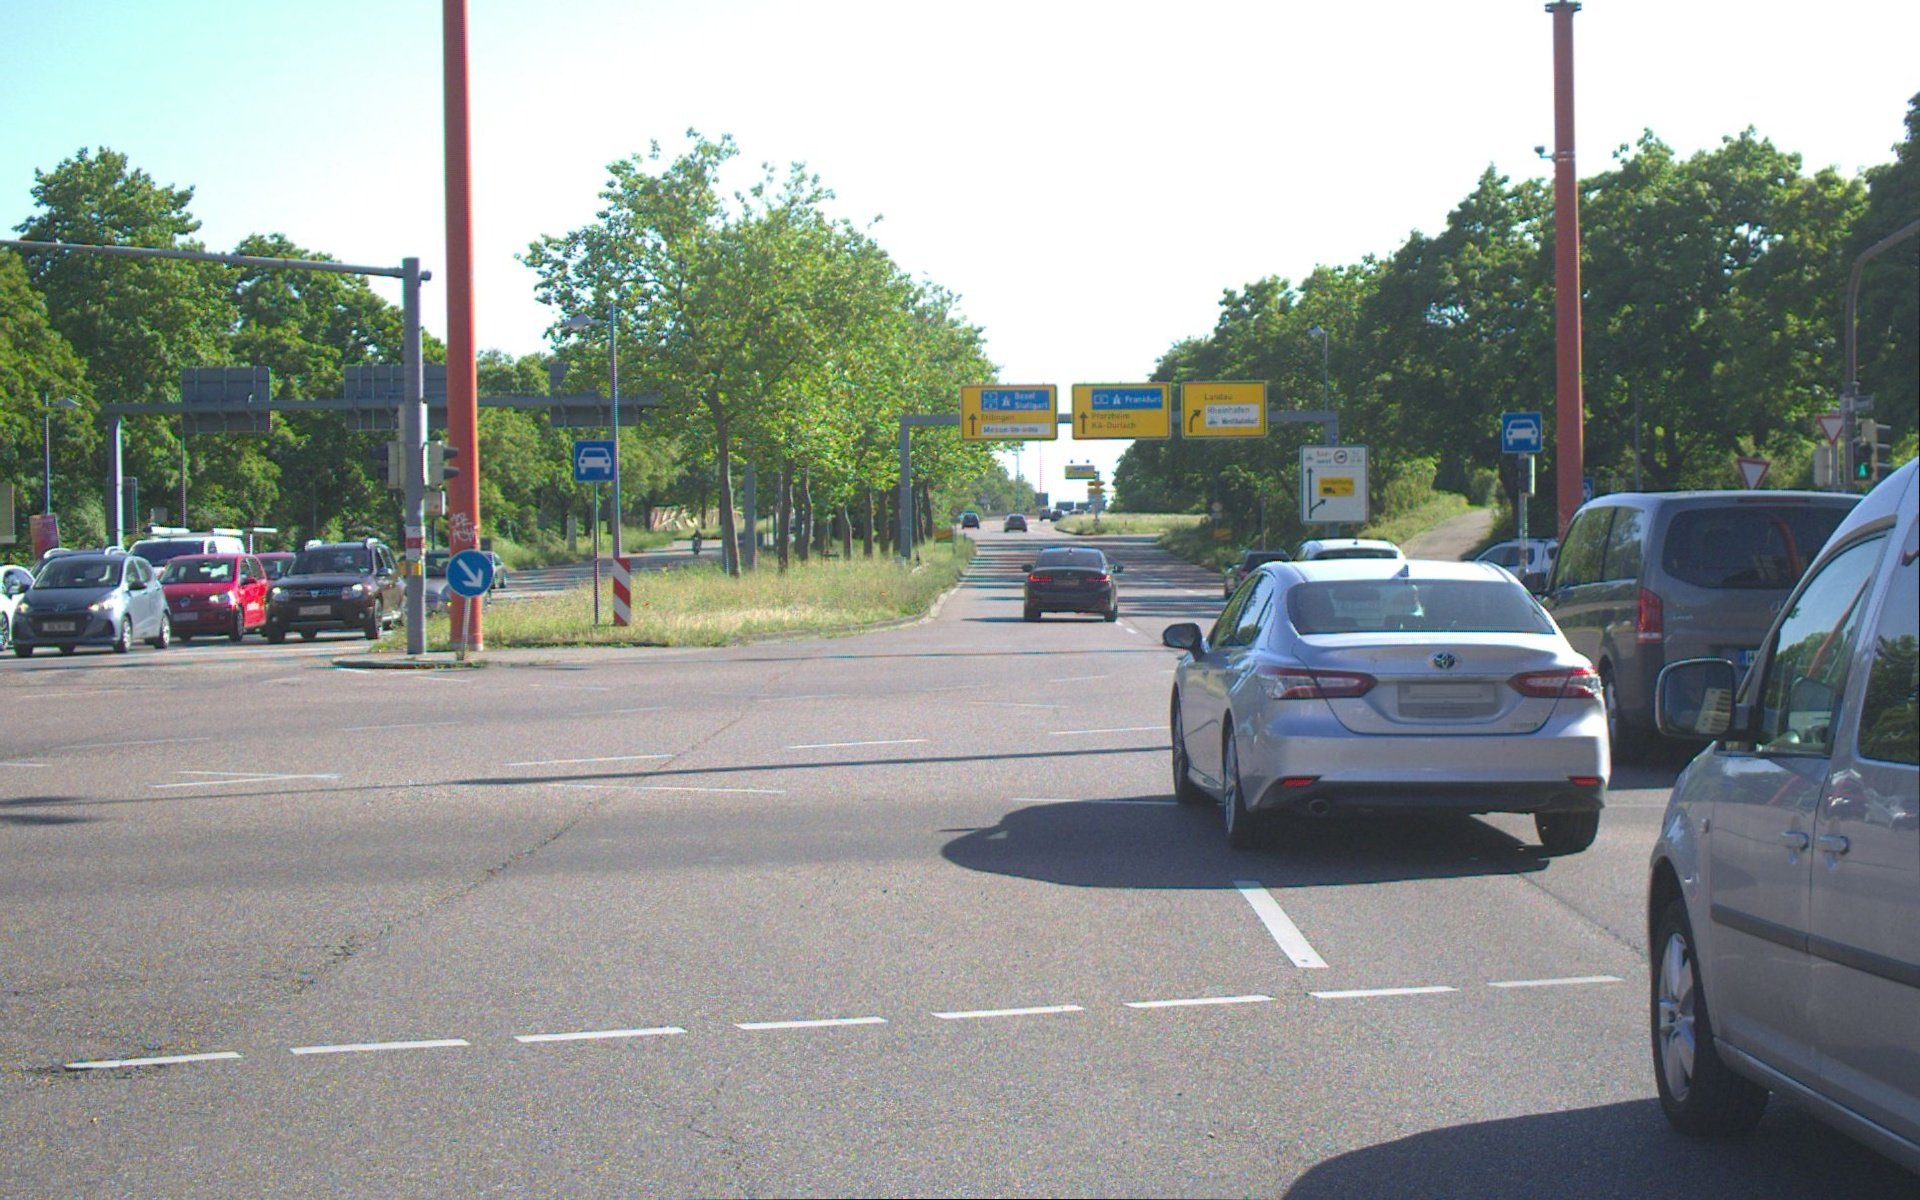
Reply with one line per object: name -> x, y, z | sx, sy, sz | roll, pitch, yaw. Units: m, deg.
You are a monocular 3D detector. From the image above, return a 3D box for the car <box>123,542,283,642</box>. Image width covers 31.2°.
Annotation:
car -> -12.867, -0.160, 58.622 | 1.875, 1.547, 4.000 | -4, 1, -2

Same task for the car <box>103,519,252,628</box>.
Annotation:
car -> -16.067, -0.570, 70.823 | 1.961, 2.147, 5.082 | -1, 1, -1

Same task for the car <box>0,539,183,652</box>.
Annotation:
car -> -13.218, -0.101, 52.284 | 1.874, 1.545, 4.028 | -2, 1, -1

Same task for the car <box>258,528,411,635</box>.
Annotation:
car -> -10.213, -0.329, 56.360 | 1.793, 1.620, 4.144 | -2, 1, -1

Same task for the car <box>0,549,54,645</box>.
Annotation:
car -> -16.532, -0.052, 57.275 | 1.901, 1.549, 4.000 | -2, 1, -2

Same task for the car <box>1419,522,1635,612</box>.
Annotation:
car -> 10.761, -0.639, 65.507 | 1.764, 1.629, 4.299 | -1, 1, -29

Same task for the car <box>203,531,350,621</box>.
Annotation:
car -> -12.805, -0.456, 64.619 | 1.901, 1.624, 4.000 | 0, 1, 1

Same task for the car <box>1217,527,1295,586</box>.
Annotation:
car -> 8.373, -1.224, 97.553 | 1.764, 1.630, 4.298 | 1, 1, -1

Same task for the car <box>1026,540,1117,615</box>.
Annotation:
car -> 2.213, -0.465, 68.915 | 1.764, 1.436, 4.295 | 1, 1, 1

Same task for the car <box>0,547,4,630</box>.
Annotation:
car -> -19.991, -0.199, 66.798 | 1.778, 1.646, 3.974 | -3, 0, -2

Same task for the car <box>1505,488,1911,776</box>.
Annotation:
car -> 5.283, 0.162, 24.972 | 1.804, 1.845, 5.103 | -1, 1, 0

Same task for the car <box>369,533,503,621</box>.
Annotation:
car -> -9.689, -0.446, 63.838 | 1.885, 1.538, 4.000 | -2, 1, -1

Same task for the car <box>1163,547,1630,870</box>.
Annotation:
car -> 2.181, 0.485, 18.431 | 1.804, 1.488, 4.682 | 1, 1, -1

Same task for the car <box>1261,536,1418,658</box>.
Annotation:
car -> 5.226, -0.060, 47.729 | 1.716, 1.602, 3.847 | 1, 1, 0

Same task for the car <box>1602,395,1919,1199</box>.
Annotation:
car -> 2.737, 0.509, 7.284 | 1.804, 1.815, 4.587 | 0, 1, -1
